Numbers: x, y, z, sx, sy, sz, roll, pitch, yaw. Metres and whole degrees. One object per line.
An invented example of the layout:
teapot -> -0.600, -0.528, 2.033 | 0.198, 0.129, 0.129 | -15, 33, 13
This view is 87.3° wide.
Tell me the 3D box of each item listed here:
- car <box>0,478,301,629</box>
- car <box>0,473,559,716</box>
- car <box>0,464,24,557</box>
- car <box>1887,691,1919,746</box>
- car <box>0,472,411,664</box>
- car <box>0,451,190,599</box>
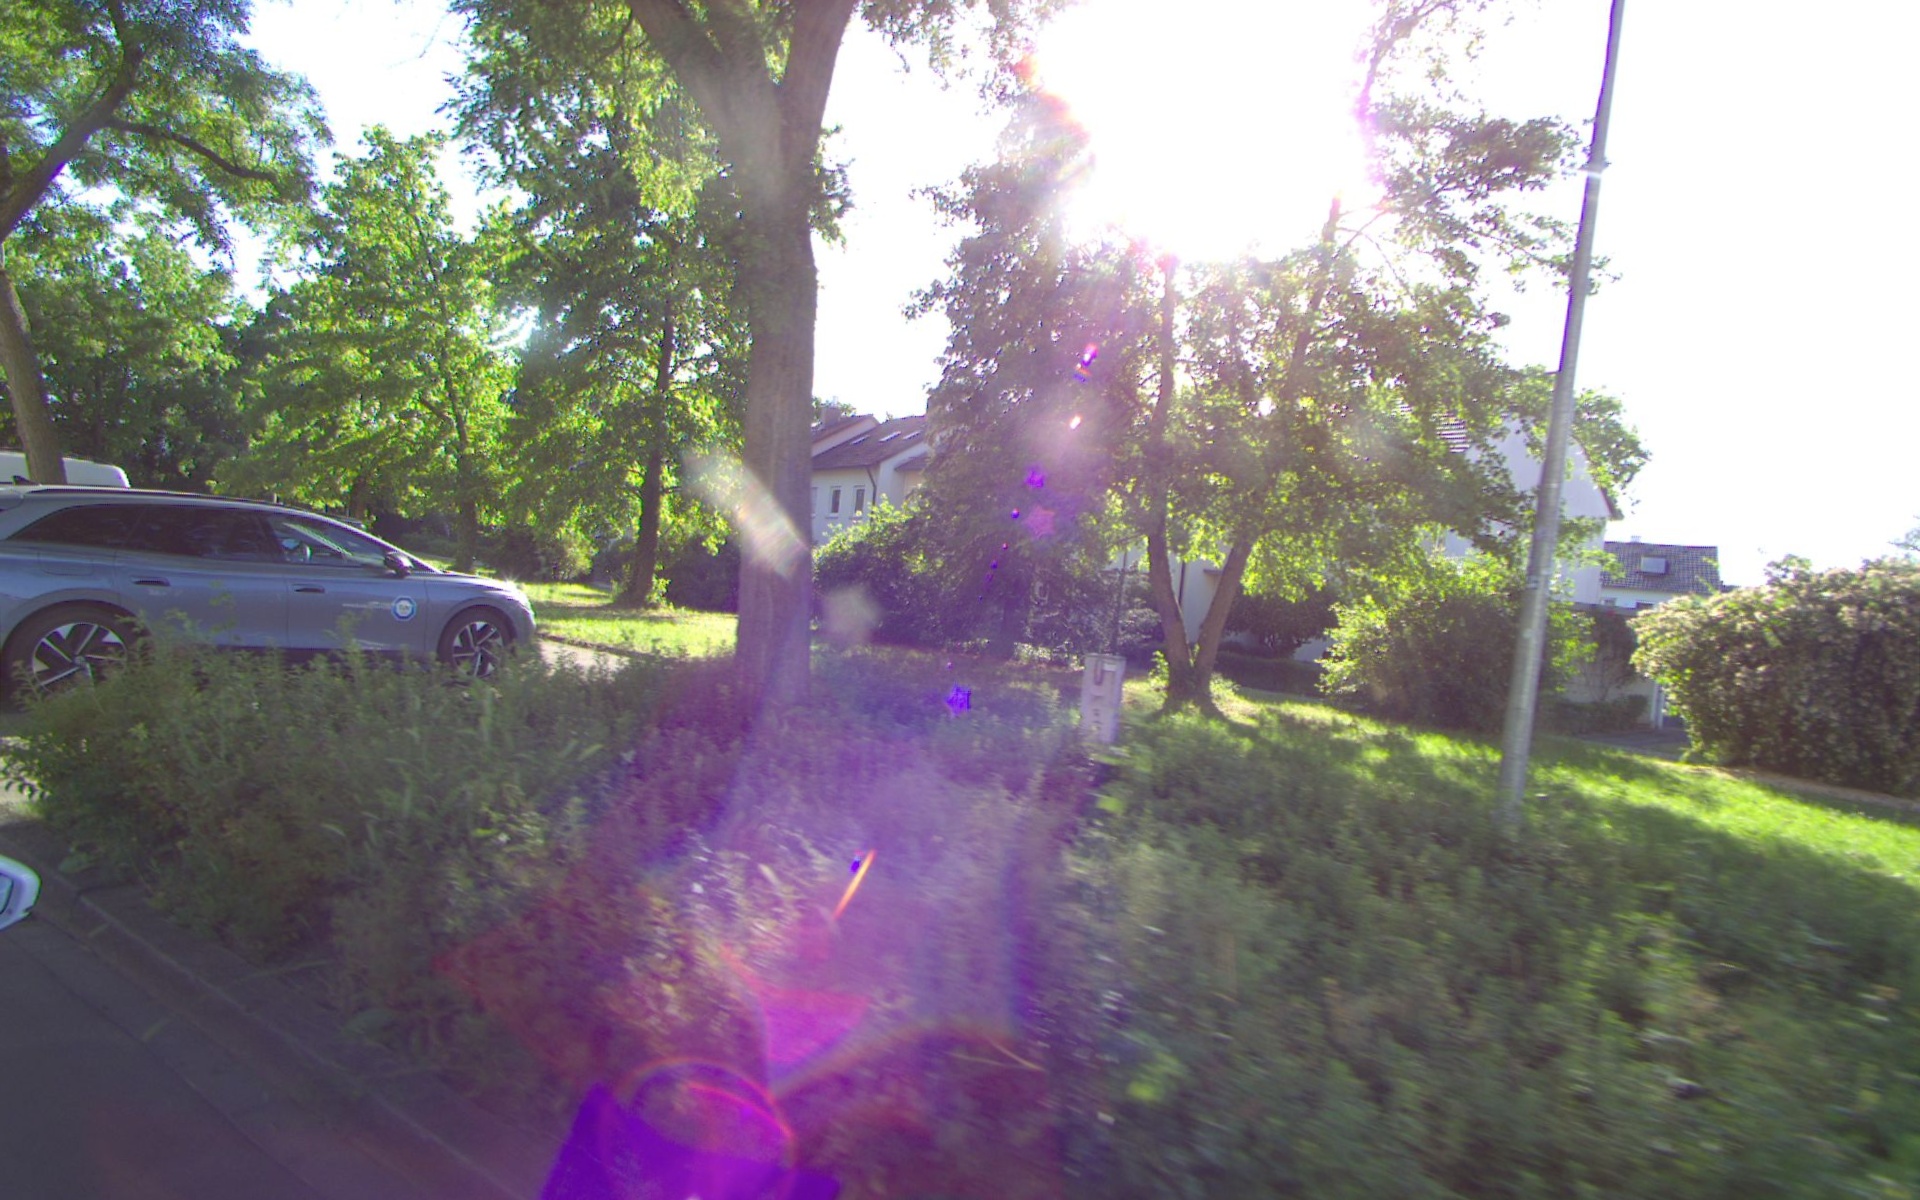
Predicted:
car -> -10.370, -0.555, 11.366 | 1.966, 1.537, 4.446 | 7, 2, 31
car -> -6.118, -0.036, 8.475 | 1.978, 1.568, 4.787 | 7, 1, 31
car -> -20.363, -1.902, 18.031 | 1.968, 1.746, 4.883 | 7, 2, 34
car -> 29.588, 3.771, 29.198 | 1.659, 1.508, 3.552 | 6, 4, -38
car -> -8.111, -0.287, 9.864 | 1.709, 1.591, 4.428 | 7, 1, 33
car -> -14.194, -1.179, 14.147 | 1.965, 1.949, 4.892 | 7, 1, 26
